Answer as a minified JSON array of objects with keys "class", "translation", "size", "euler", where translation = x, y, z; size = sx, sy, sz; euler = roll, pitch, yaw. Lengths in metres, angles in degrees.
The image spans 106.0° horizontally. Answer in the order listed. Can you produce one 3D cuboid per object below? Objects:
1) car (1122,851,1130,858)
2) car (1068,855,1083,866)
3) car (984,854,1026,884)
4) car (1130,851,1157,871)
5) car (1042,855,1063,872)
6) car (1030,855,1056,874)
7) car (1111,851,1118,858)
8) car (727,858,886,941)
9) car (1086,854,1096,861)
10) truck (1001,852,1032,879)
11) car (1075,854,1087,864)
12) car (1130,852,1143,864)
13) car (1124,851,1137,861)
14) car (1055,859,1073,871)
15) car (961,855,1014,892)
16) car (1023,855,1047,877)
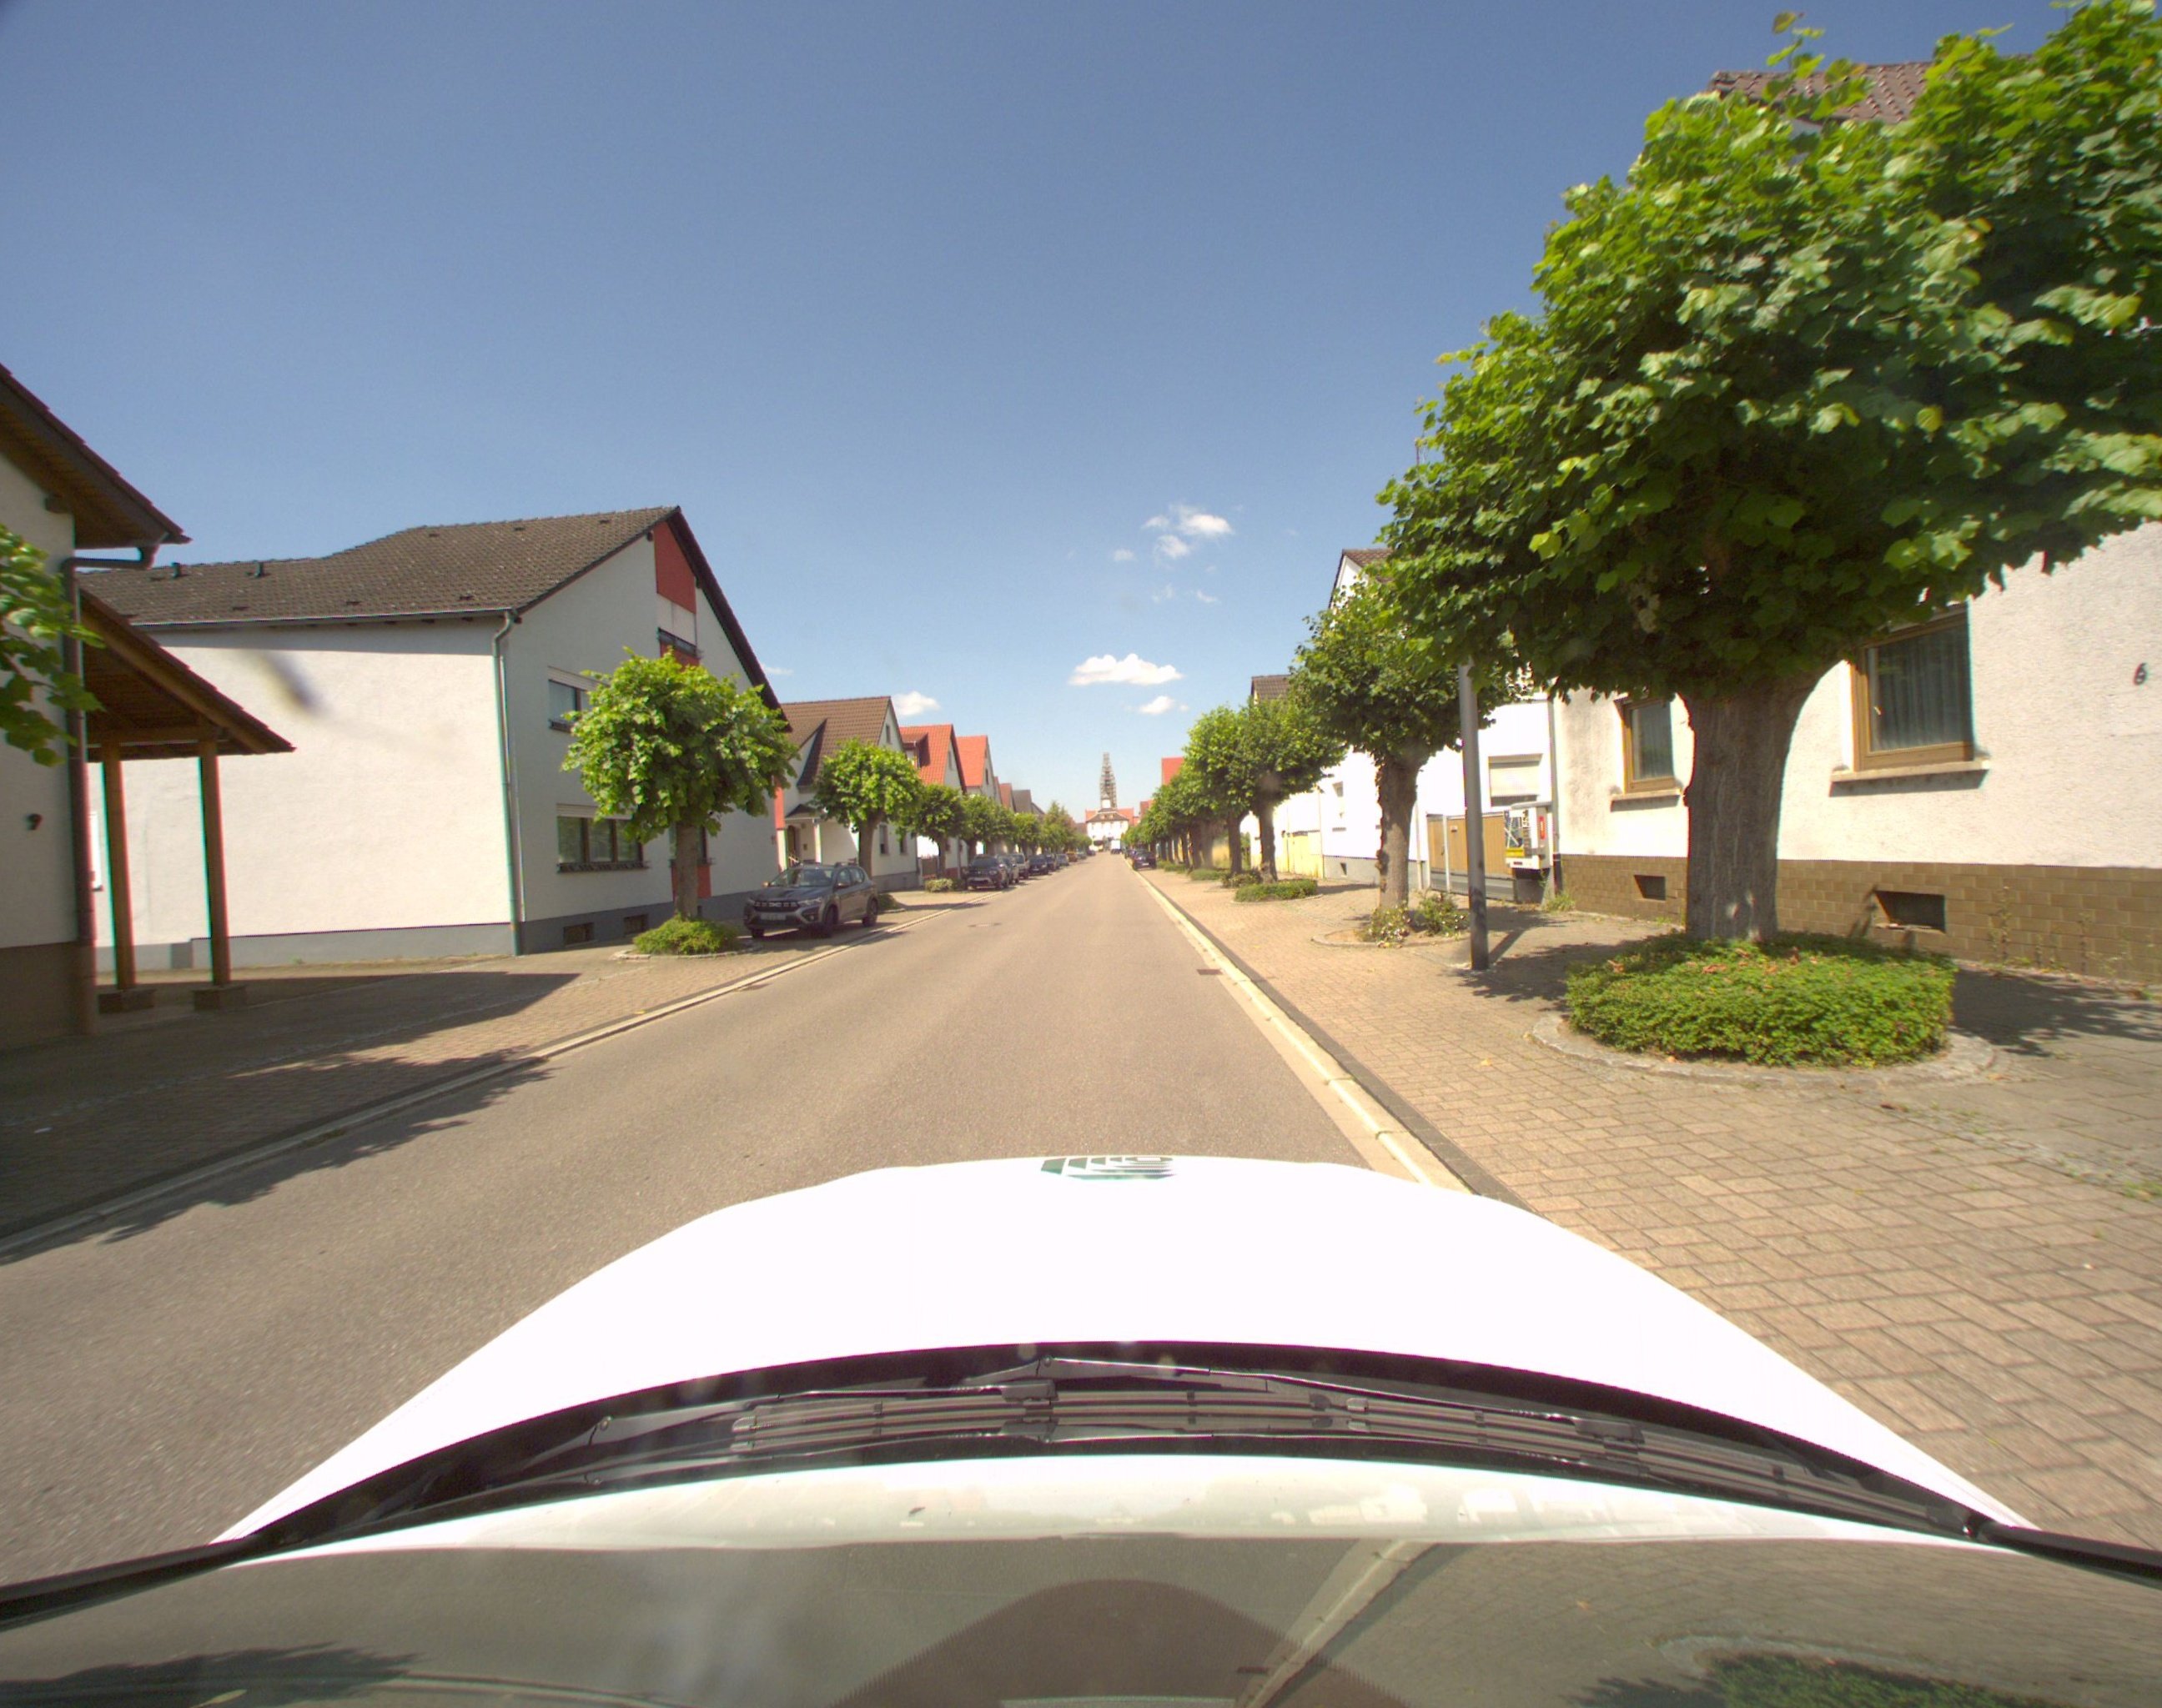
[{"class":"car","translation":[10.806,0.200,195.817],"size":[1.830,1.555,4.317],"euler":[-4,0,3]},{"class":"car","translation":[-0.809,1.001,126.098],"size":[1.985,1.611,4.693],"euler":[-1,0,3]},{"class":"car","translation":[-4.317,0.858,46.833],"size":[1.845,1.613,4.373],"euler":[0,-1,2]},{"class":"car","translation":[4.815,0.520,63.416],"size":[1.817,1.432,4.059],"euler":[-5,0,2]},{"class":"car","translation":[-2.794,0.906,81.348],"size":[1.988,1.652,4.365],"euler":[-1,0,-1]},{"class":"car","translation":[-3.320,0.892,71.745],"size":[1.845,1.635,4.059],"euler":[-1,-1,2]},{"class":"car","translation":[8.037,0.140,194.856],"size":[1.723,1.547,3.457],"euler":[-1,-1,2]},{"class":"car","translation":[-5.899,0.897,18.055],"size":[1.844,1.613,4.140],"euler":[0,0,4]},{"class":"car","translation":[2.421,0.793,196.145],"size":[1.985,1.611,3.858],"euler":[-1,-1,3]},{"class":"truck","translation":[-4.280,0.749,54.393],"size":[1.570,1.765,4.194],"euler":[0,0,2]},{"class":"car","translation":[0.046,0.914,147.668],"size":[1.985,1.611,4.693],"euler":[-1,1,3]},{"class":"car","translation":[8.533,0.608,125.510],"size":[1.831,1.607,4.001],"euler":[-2,0,1]},{"class":"car","translation":[8.066,0.304,133.167],"size":[1.830,1.555,4.315],"euler":[-4,0,2]},{"class":"car","translation":[-1.985,1.269,95.960],"size":[1.834,1.396,4.408],"euler":[-2,0,2]},{"class":"car","translation":[-4.375,0.890,38.792],"size":[1.845,1.636,4.302],"euler":[0,1,2]},{"class":"car","translation":[-3.530,0.902,63.143],"size":[1.782,1.634,3.995],"euler":[-1,0,-3]}]
